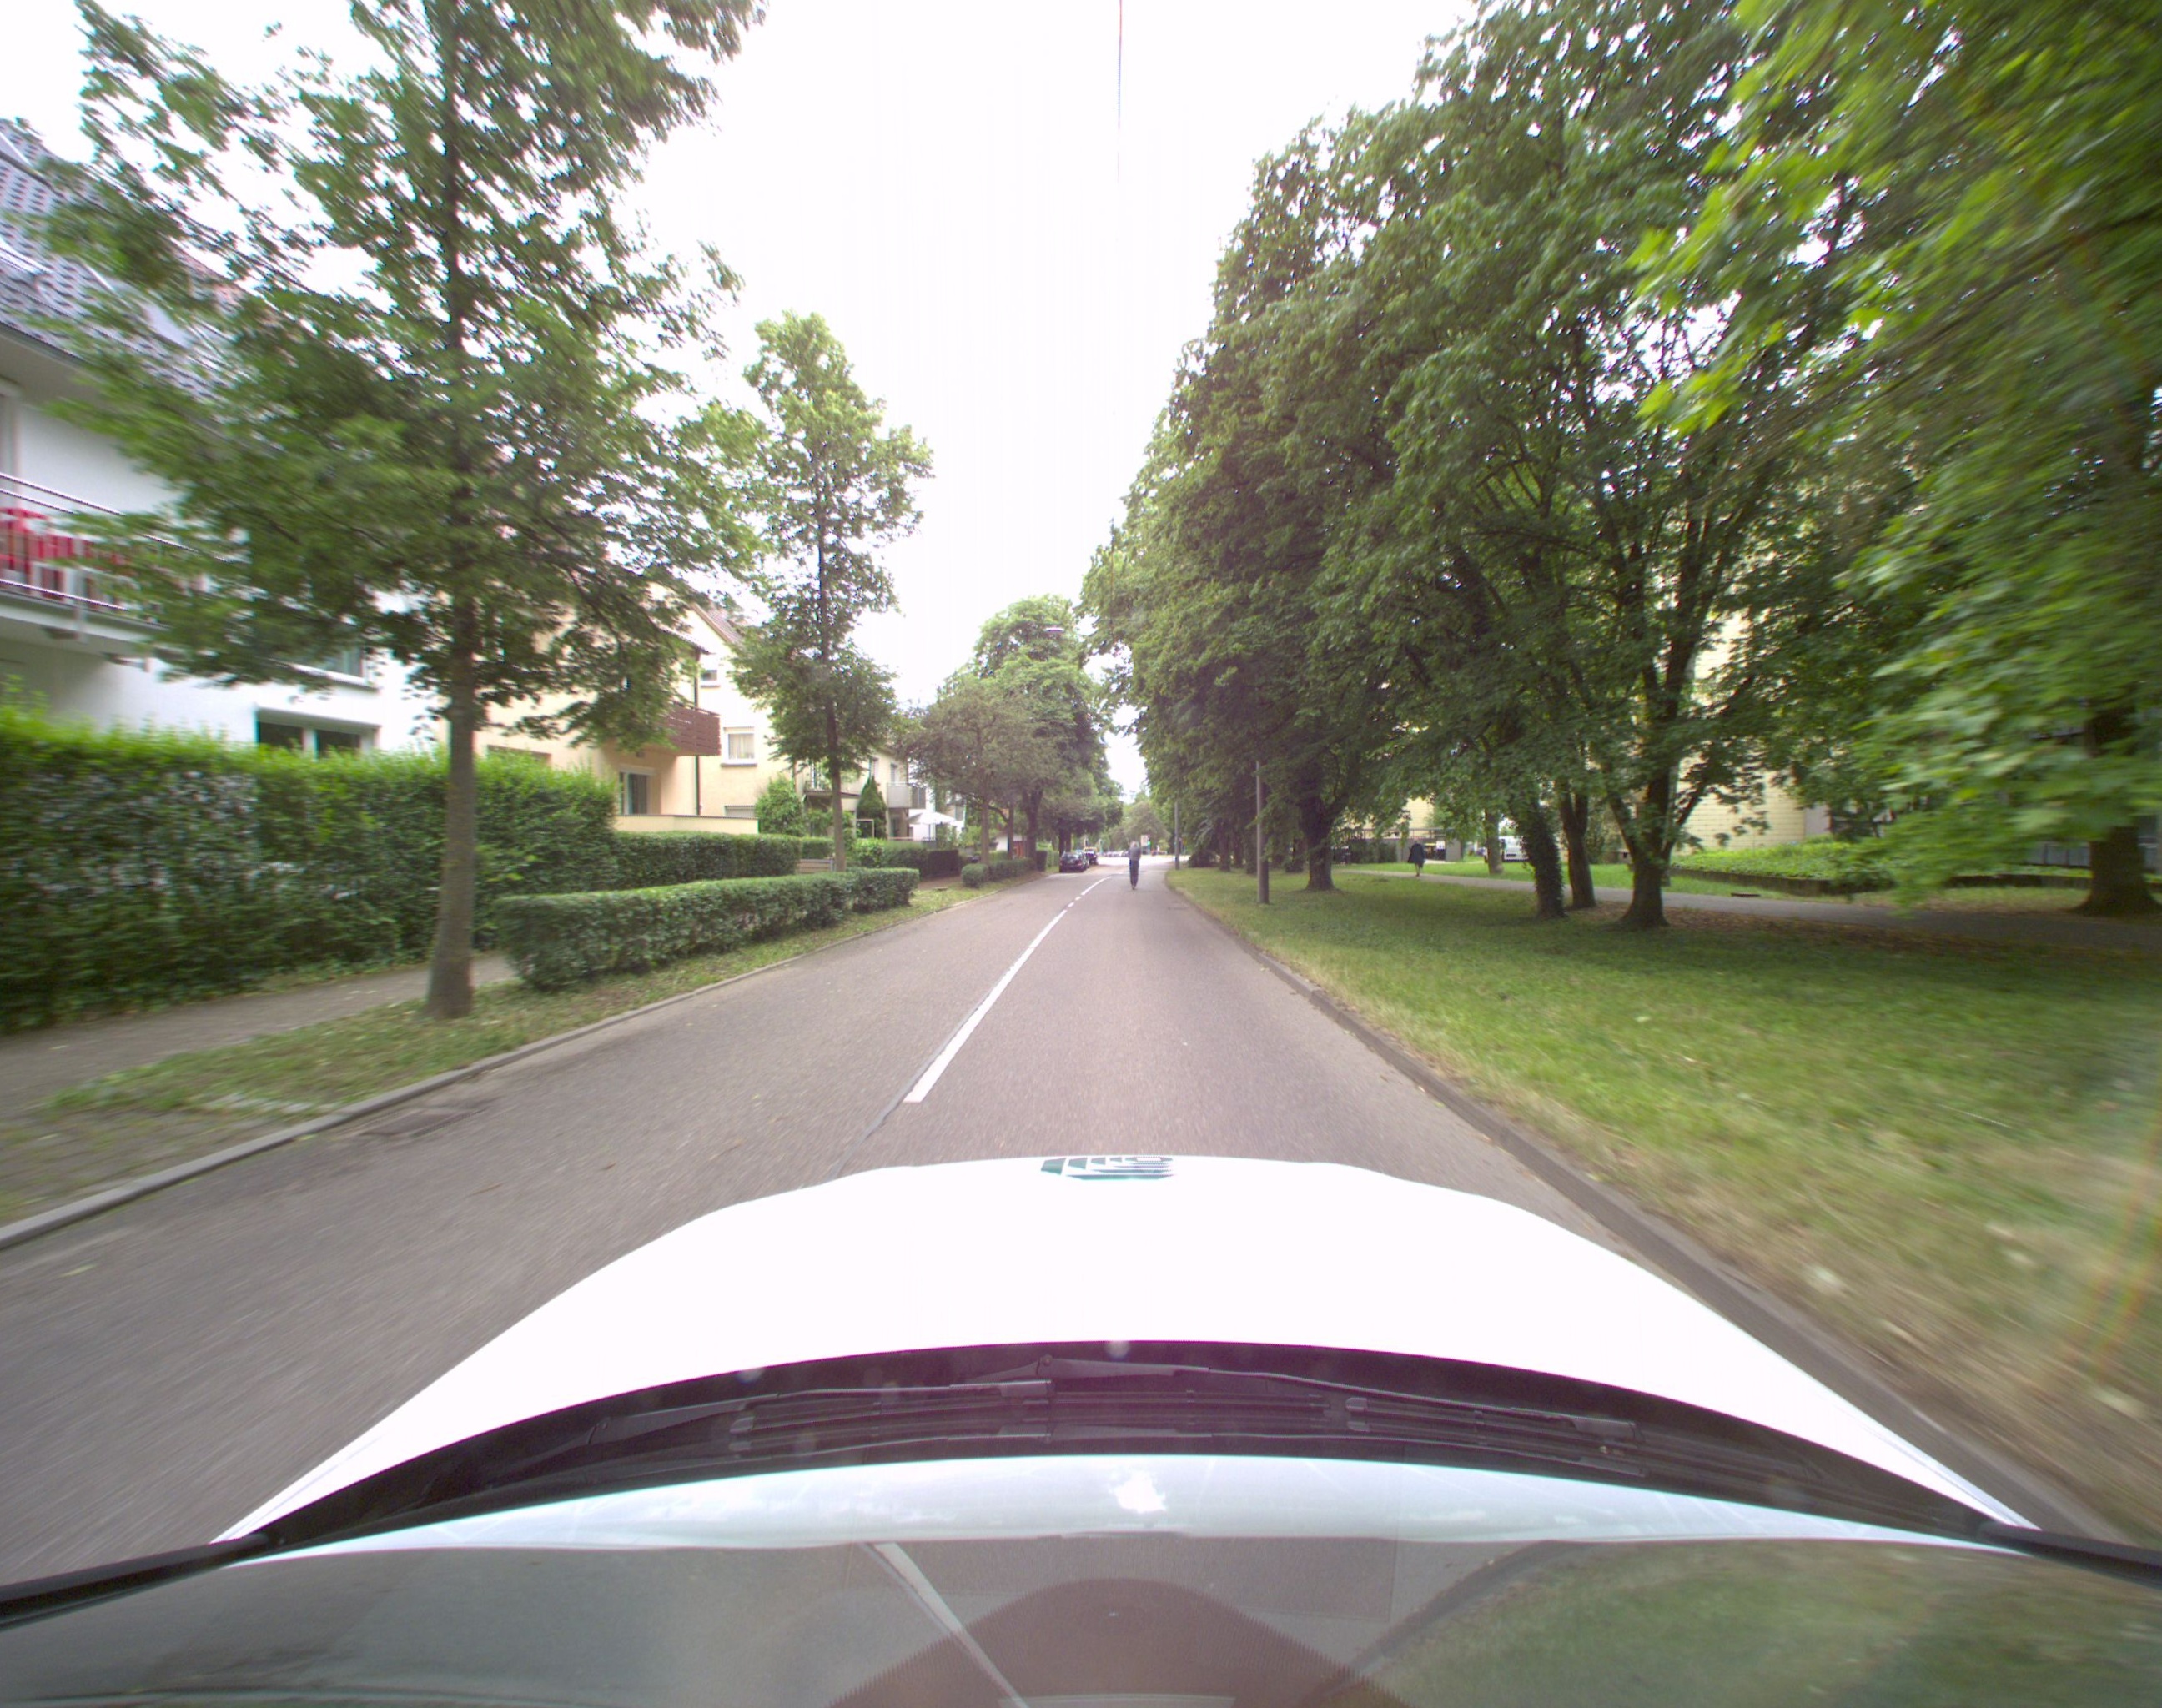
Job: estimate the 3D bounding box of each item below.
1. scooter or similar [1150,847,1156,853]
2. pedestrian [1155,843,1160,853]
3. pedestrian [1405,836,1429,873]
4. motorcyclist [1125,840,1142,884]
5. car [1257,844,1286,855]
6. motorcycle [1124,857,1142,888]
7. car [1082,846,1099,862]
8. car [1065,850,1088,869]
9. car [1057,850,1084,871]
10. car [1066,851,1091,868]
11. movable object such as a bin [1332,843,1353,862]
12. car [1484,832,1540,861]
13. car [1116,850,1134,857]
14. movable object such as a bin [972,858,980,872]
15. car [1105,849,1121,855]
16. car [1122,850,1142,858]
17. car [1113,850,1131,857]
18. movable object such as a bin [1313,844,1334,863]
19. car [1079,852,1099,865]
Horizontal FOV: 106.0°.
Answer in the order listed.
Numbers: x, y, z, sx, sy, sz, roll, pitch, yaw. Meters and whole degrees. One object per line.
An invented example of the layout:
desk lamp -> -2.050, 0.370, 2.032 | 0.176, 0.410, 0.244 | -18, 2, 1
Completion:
scooter or similar -> 12.318, -0.680, 138.932 | 0.704, 1.049, 0.791 | -1, 0, 23
pedestrian -> 12.983, -1.044, 138.603 | 0.726, 1.762, 0.665 | -1, -1, 23
pedestrian -> 15.678, 0.027, 38.062 | 0.765, 1.686, 0.815 | -2, 0, 2
motorcyclist -> 2.128, 0.332, 32.923 | 0.669, 1.761, 0.640 | 1, 0, 5
car -> 27.812, -0.682, 119.009 | 3.957, 1.557, 1.808 | 1, 3, 16
motorcycle -> 2.113, 0.728, 32.792 | 0.669, 1.217, 1.275 | 1, 0, 5
car -> 1.156, -0.016, 102.039 | 1.852, 1.964, 4.501 | -1, 0, -2
car -> -0.345, 0.411, 64.798 | 1.658, 1.391, 3.708 | -1, 0, 1
car -> -0.765, 0.442, 59.916 | 1.788, 1.472, 4.419 | -1, 0, 1
car -> -0.199, 0.448, 70.801 | 1.786, 1.410, 4.651 | -1, 0, 5
movable object such as a bin -> 21.652, -0.094, 67.450 | 1.322, 1.501, 1.315 | -2, 0, 1
car -> 29.329, -0.548, 55.622 | 2.072, 1.842, 4.984 | -2, 1, 12
car -> 9.810, -0.030, 182.607 | 3.973, 1.510, 1.800 | -1, 0, 0
movable object such as a bin -> -6.644, 0.687, 51.527 | 0.455, 0.915, 0.508 | -2, 0, -3
car -> 7.836, -0.500, 199.378 | 3.973, 1.510, 1.800 | -1, 0, 0
car -> 10.748, -0.040, 171.815 | 3.973, 1.510, 1.800 | -1, 0, 0
car -> 9.198, -0.028, 184.540 | 3.973, 1.510, 1.800 | -1, 0, 0
movable object such as a bin -> 20.185, -0.038, 67.732 | 1.322, 1.501, 1.315 | -2, 0, 1
car -> 0.952, 0.504, 91.097 | 1.883, 1.410, 4.559 | -1, 0, 4
